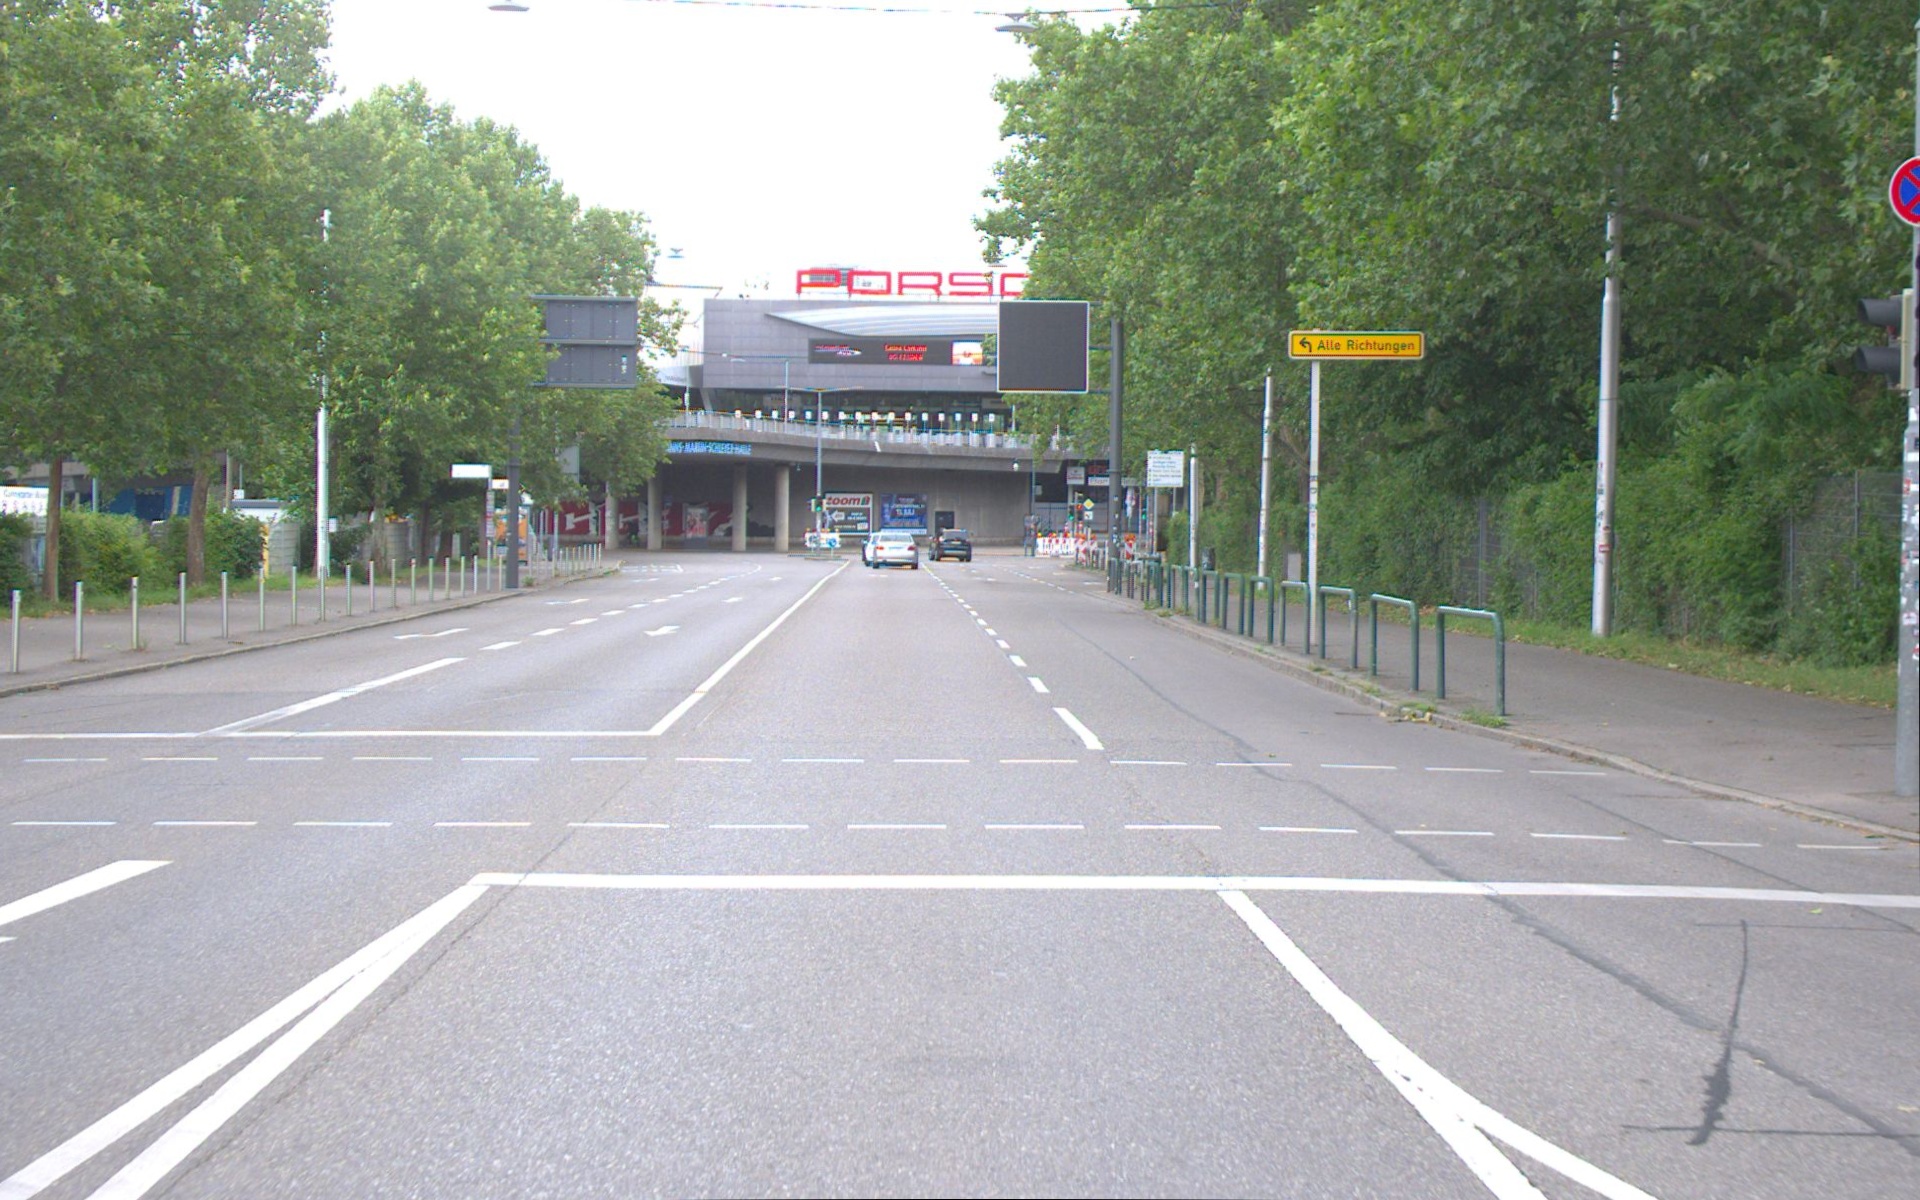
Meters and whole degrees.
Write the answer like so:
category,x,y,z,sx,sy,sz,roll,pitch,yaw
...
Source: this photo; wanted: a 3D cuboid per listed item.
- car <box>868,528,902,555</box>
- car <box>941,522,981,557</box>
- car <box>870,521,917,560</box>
category,x,y,z,sx,sy,sz,roll,pitch,yaw
car,-3.230,-2.526,148.684,1.411,1.109,3.038,2,1,-1
car,0.048,-3.115,177.020,2.007,1.693,4.070,1,1,0
car,-2.672,-2.411,139.105,1.778,1.455,3.822,3,1,0
